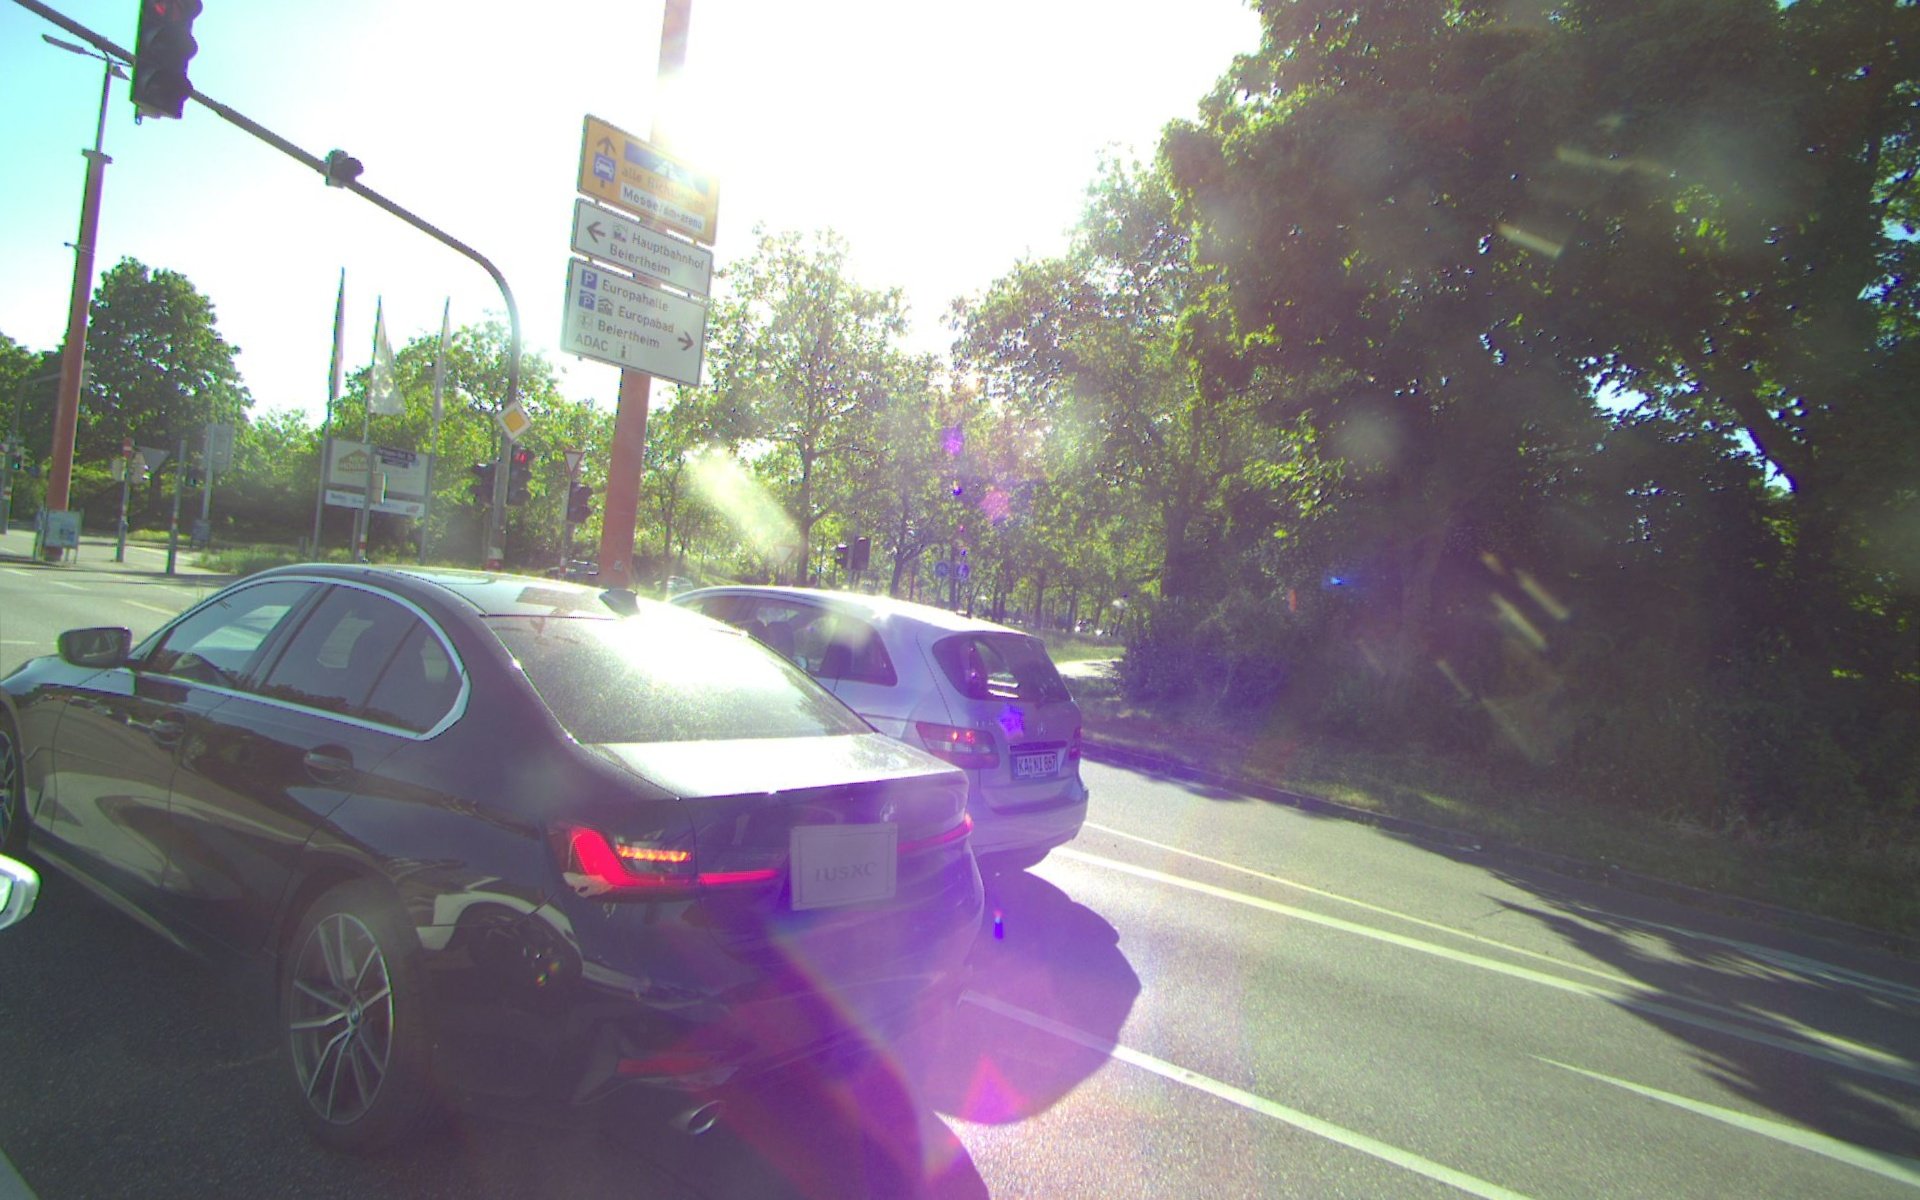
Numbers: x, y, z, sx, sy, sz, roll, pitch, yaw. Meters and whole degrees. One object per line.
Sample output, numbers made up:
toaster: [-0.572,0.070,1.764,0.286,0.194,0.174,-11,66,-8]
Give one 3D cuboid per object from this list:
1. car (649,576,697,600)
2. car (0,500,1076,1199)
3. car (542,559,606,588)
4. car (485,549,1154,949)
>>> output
car: [-22.971,-0.938,80.682,1.652,1.485,3.996,7,-1,17]
car: [-2.000,0.543,3.825,4.371,1.415,1.871,7,0,33]
car: [-26.180,-1.752,68.382,1.751,1.503,4.332,7,-1,14]
car: [-1.017,0.706,6.478,3.963,1.597,1.741,7,0,33]
